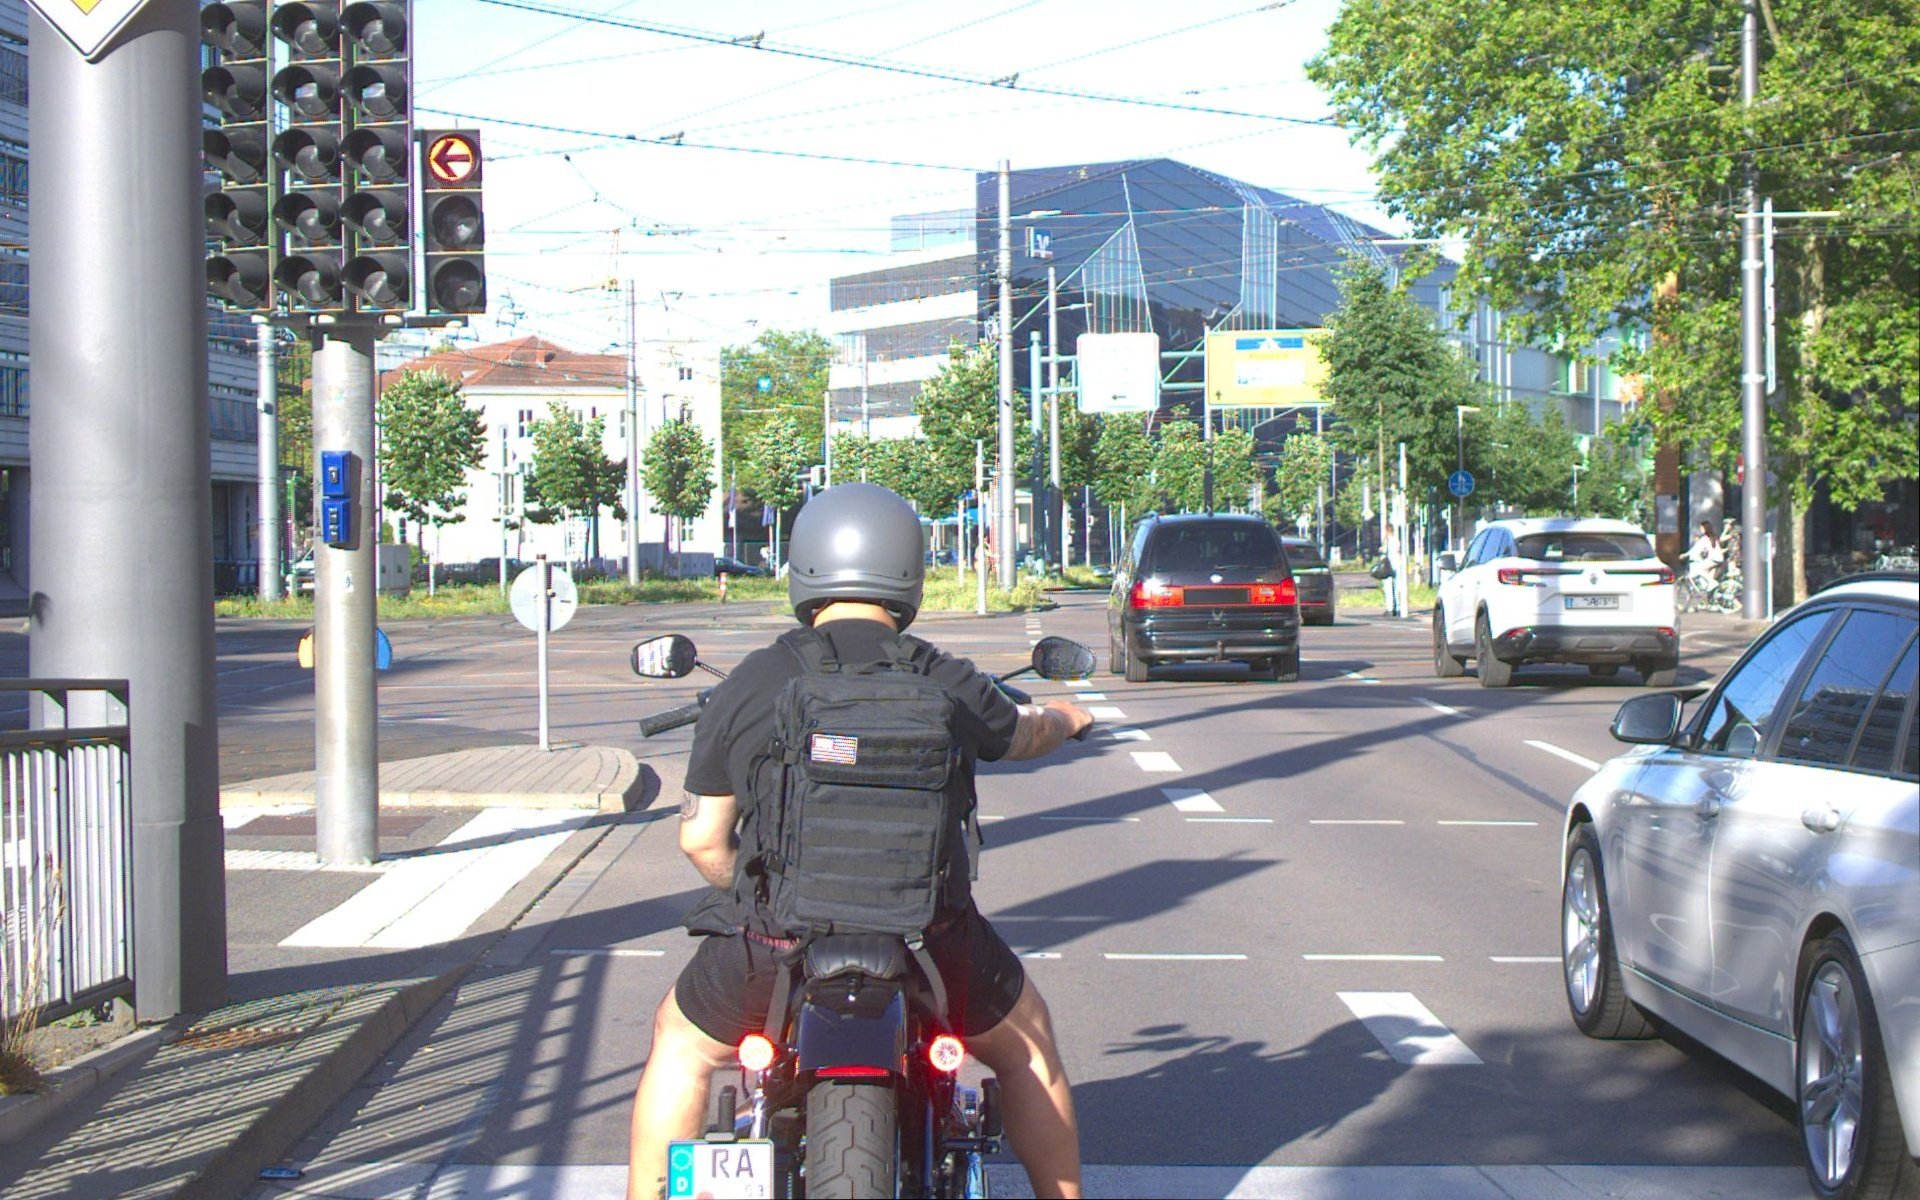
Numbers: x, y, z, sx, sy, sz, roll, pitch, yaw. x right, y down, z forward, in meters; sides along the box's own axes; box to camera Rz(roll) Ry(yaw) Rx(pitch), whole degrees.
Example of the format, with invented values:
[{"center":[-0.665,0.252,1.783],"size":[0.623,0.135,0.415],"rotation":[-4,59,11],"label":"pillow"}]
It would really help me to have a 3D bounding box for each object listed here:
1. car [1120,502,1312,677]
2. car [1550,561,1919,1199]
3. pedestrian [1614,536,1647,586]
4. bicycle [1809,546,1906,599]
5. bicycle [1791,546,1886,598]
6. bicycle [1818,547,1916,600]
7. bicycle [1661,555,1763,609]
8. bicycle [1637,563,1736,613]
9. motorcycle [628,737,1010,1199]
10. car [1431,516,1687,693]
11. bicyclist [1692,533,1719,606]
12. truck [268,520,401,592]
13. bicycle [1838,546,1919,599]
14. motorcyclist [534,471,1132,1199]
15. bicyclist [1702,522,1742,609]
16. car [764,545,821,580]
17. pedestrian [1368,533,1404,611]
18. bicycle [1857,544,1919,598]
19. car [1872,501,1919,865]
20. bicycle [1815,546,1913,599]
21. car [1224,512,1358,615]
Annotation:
[{"center":[2.584,-0.113,35.505],"size":[1.803,1.672,4.041],"rotation":[1,0,2],"label":"car"},{"center":[2.769,0.650,8.678],"size":[1.731,1.452,4.418],"rotation":[1,0,-1],"label":"car"},{"center":[17.930,-1.045,91.892],"size":[0.819,1.309,0.637],"rotation":[1,0,9],"label":"pedestrian"},{"center":[18.408,-0.564,70.524],"size":[1.880,1.043,0.360],"rotation":[1,1,-1],"label":"bicycle"},{"center":[18.315,-0.582,71.674],"size":[1.880,1.043,0.360],"rotation":[1,1,-1],"label":"bicycle"},{"center":[18.349,-0.540,69.537],"size":[1.880,1.043,0.360],"rotation":[1,0,-1],"label":"bicycle"},{"center":[14.497,-0.350,66.291],"size":[1.872,1.040,0.536],"rotation":[0,0,19],"label":"bicycle"},{"center":[13.844,-0.229,65.556],"size":[1.829,0.922,0.357],"rotation":[1,0,35],"label":"bicycle"},{"center":[-0.241,0.853,6.600],"size":[0.600,1.032,2.234],"rotation":[1,1,-1],"label":"motorcycle"},{"center":[5.773,-0.010,33.556],"size":[1.731,1.593,4.041],"rotation":[1,1,0],"label":"car"},{"center":[14.167,-0.582,65.340],"size":[0.381,1.368,0.344],"rotation":[1,0,33],"label":"bicyclist"},{"center":[-17.540,-1.224,96.669],"size":[1.994,1.873,5.154],"rotation":[-3,0,10],"label":"truck"},{"center":[18.449,-0.543,68.349],"size":[1.880,1.043,0.360],"rotation":[1,0,-1],"label":"bicycle"},{"center":[-0.223,0.565,6.410],"size":[1.030,1.588,0.873],"rotation":[0,1,-1],"label":"motorcyclist"},{"center":[14.678,-0.665,66.230],"size":[0.688,1.667,0.540],"rotation":[0,0,19],"label":"bicyclist"},{"center":[-7.139,-1.633,147.132],"size":[1.825,1.425,4.529],"rotation":[0,1,5],"label":"car"},{"center":[8.617,-0.563,69.495],"size":[0.587,1.551,0.489],"rotation":[1,0,-8],"label":"pedestrian"},{"center":[18.407,-0.558,66.751],"size":[1.880,1.043,0.360],"rotation":[1,0,-1],"label":"bicycle"},{"center":[5.544,0.414,14.669],"size":[1.731,1.726,4.612],"rotation":[1,0,-5],"label":"car"},{"center":[18.415,-0.554,70.024],"size":[1.880,1.043,0.360],"rotation":[1,1,-1],"label":"bicycle"},{"center":[5.673,-0.620,59.294],"size":[1.803,1.672,4.041],"rotation":[1,0,-1],"label":"car"}]
